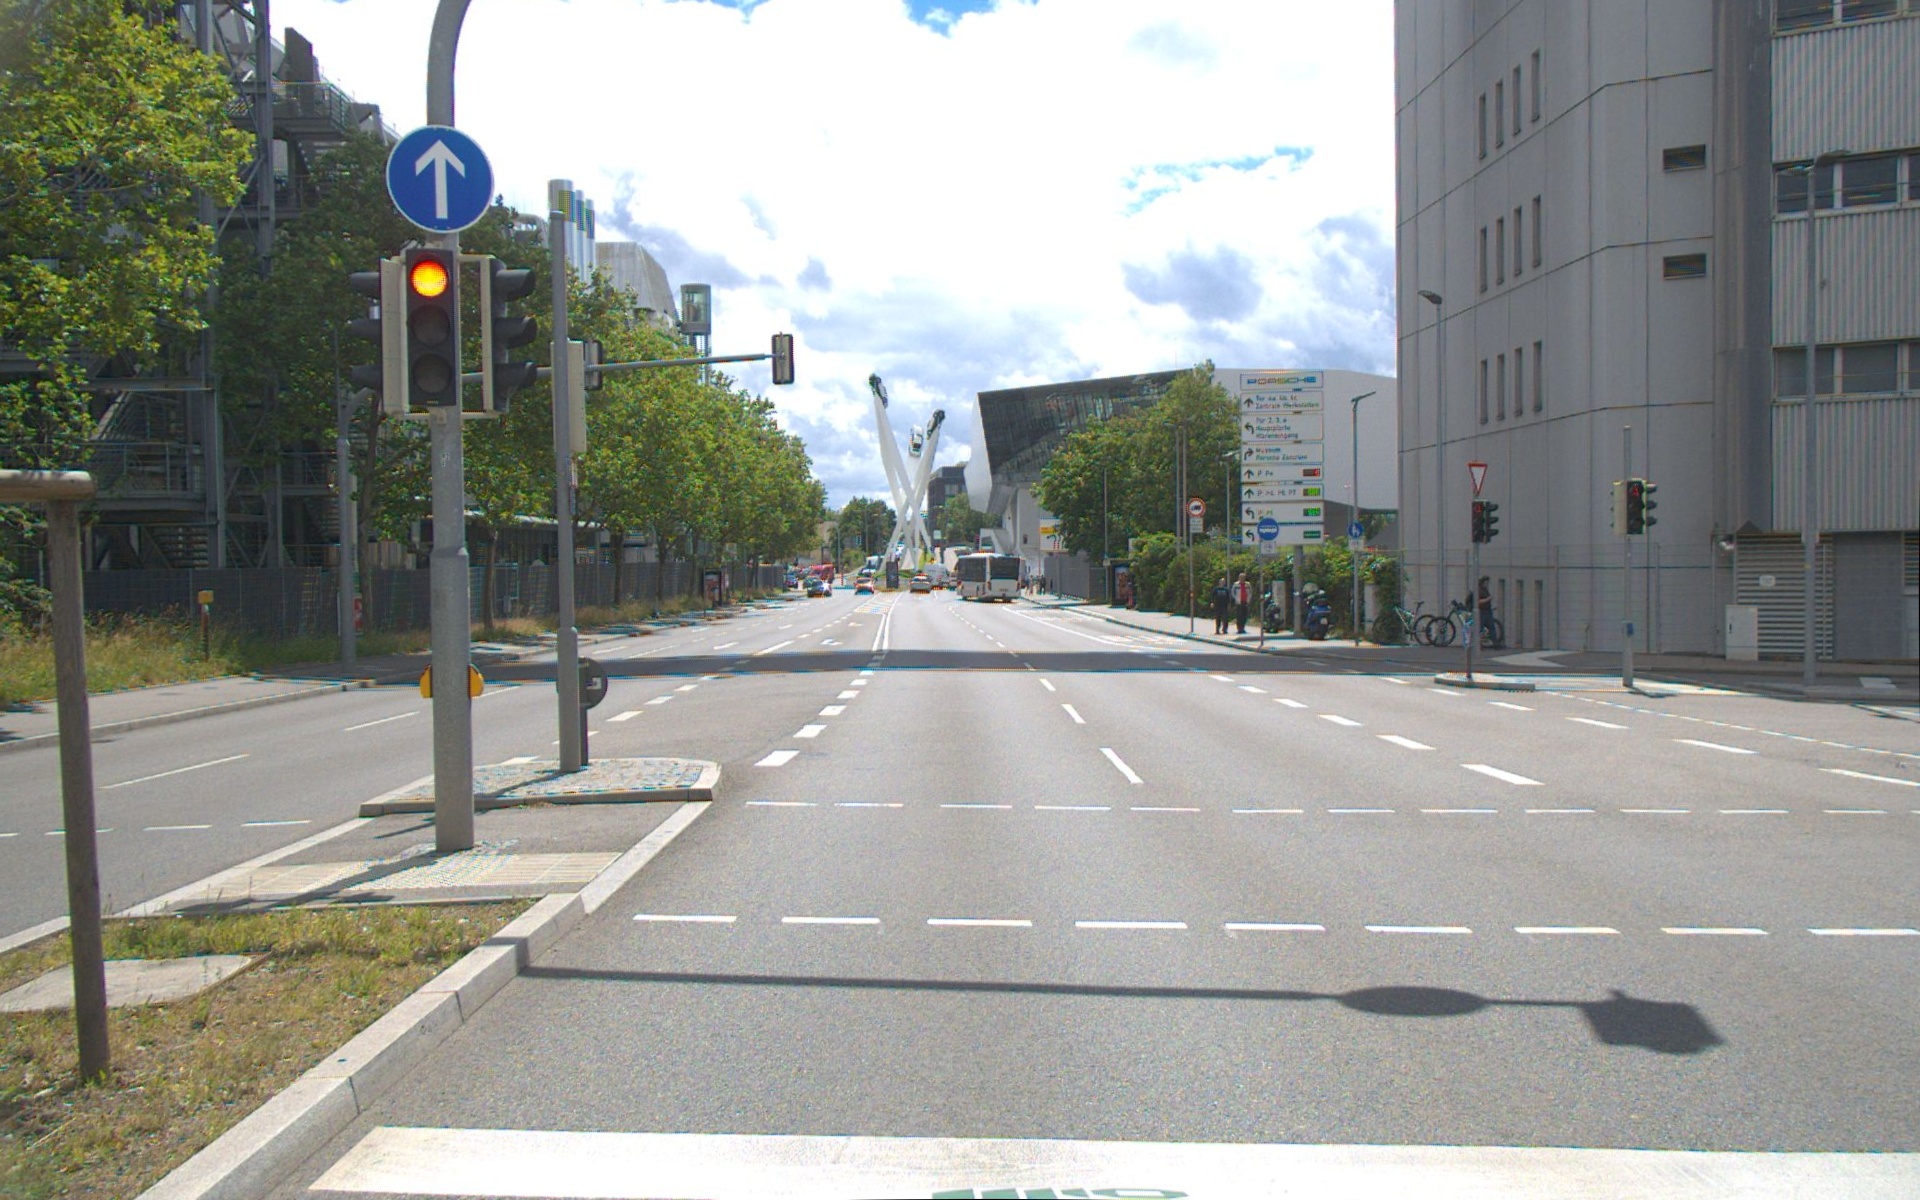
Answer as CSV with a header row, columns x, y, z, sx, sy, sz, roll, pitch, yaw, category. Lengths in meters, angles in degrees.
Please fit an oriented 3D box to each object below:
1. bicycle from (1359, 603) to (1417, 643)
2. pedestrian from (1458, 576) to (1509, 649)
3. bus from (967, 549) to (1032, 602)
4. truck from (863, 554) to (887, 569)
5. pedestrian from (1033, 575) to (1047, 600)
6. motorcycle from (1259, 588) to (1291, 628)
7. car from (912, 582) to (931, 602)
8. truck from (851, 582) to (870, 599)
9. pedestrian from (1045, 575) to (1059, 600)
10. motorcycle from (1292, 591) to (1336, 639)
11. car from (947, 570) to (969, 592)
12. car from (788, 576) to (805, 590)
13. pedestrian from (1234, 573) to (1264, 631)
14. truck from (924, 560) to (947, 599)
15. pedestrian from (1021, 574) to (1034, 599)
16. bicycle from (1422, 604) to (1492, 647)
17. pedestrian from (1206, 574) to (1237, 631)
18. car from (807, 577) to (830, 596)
x,y,z,sx,sy,sz,roll,pitch,yaw,category
10.617,0.551,41.109,0.391,0.953,1.917,0,0,-19,bicycle
11.966,0.282,37.799,0.834,1.653,0.951,0,0,40,pedestrian
2.721,-1.718,118.685,3.386,3.605,10.593,0,0,-6,bus
-12.367,-5.559,240.952,1.723,2.049,4.443,0,0,22,truck
6.738,-1.060,138.856,1.008,2.049,0.883,1,-1,-5,pedestrian
10.067,0.235,52.883,0.562,1.224,2.024,-2,1,-1,motorcycle
-3.442,-0.727,148.658,1.703,1.772,3.691,0,0,-1,car
-8.834,-0.845,146.911,1.553,1.564,3.673,0,0,-6,truck
7.754,-1.038,139.225,1.008,2.049,0.883,1,-1,-5,pedestrian
9.619,0.382,45.017,0.692,1.224,2.024,-2,1,-1,motorcycle
-0.159,-1.918,165.586,1.952,2.049,4.001,1,-1,3,car
-19.809,-2.081,200.248,1.782,1.564,3.676,-2,0,-3,car
8.947,0.065,51.221,0.803,1.772,0.637,0,0,-1,pedestrian
-2.530,-2.111,172.081,2.343,3.965,6.176,0,0,-1,truck
5.656,-1.120,138.845,1.008,2.049,0.883,1,-1,-5,pedestrian
11.650,0.585,38.838,0.392,0.953,1.912,0,0,-26,bicycle
8.106,0.068,51.274,0.803,1.737,0.881,0,0,-1,pedestrian
-12.273,-1.157,143.180,1.782,1.564,3.677,-2,0,-2,car
